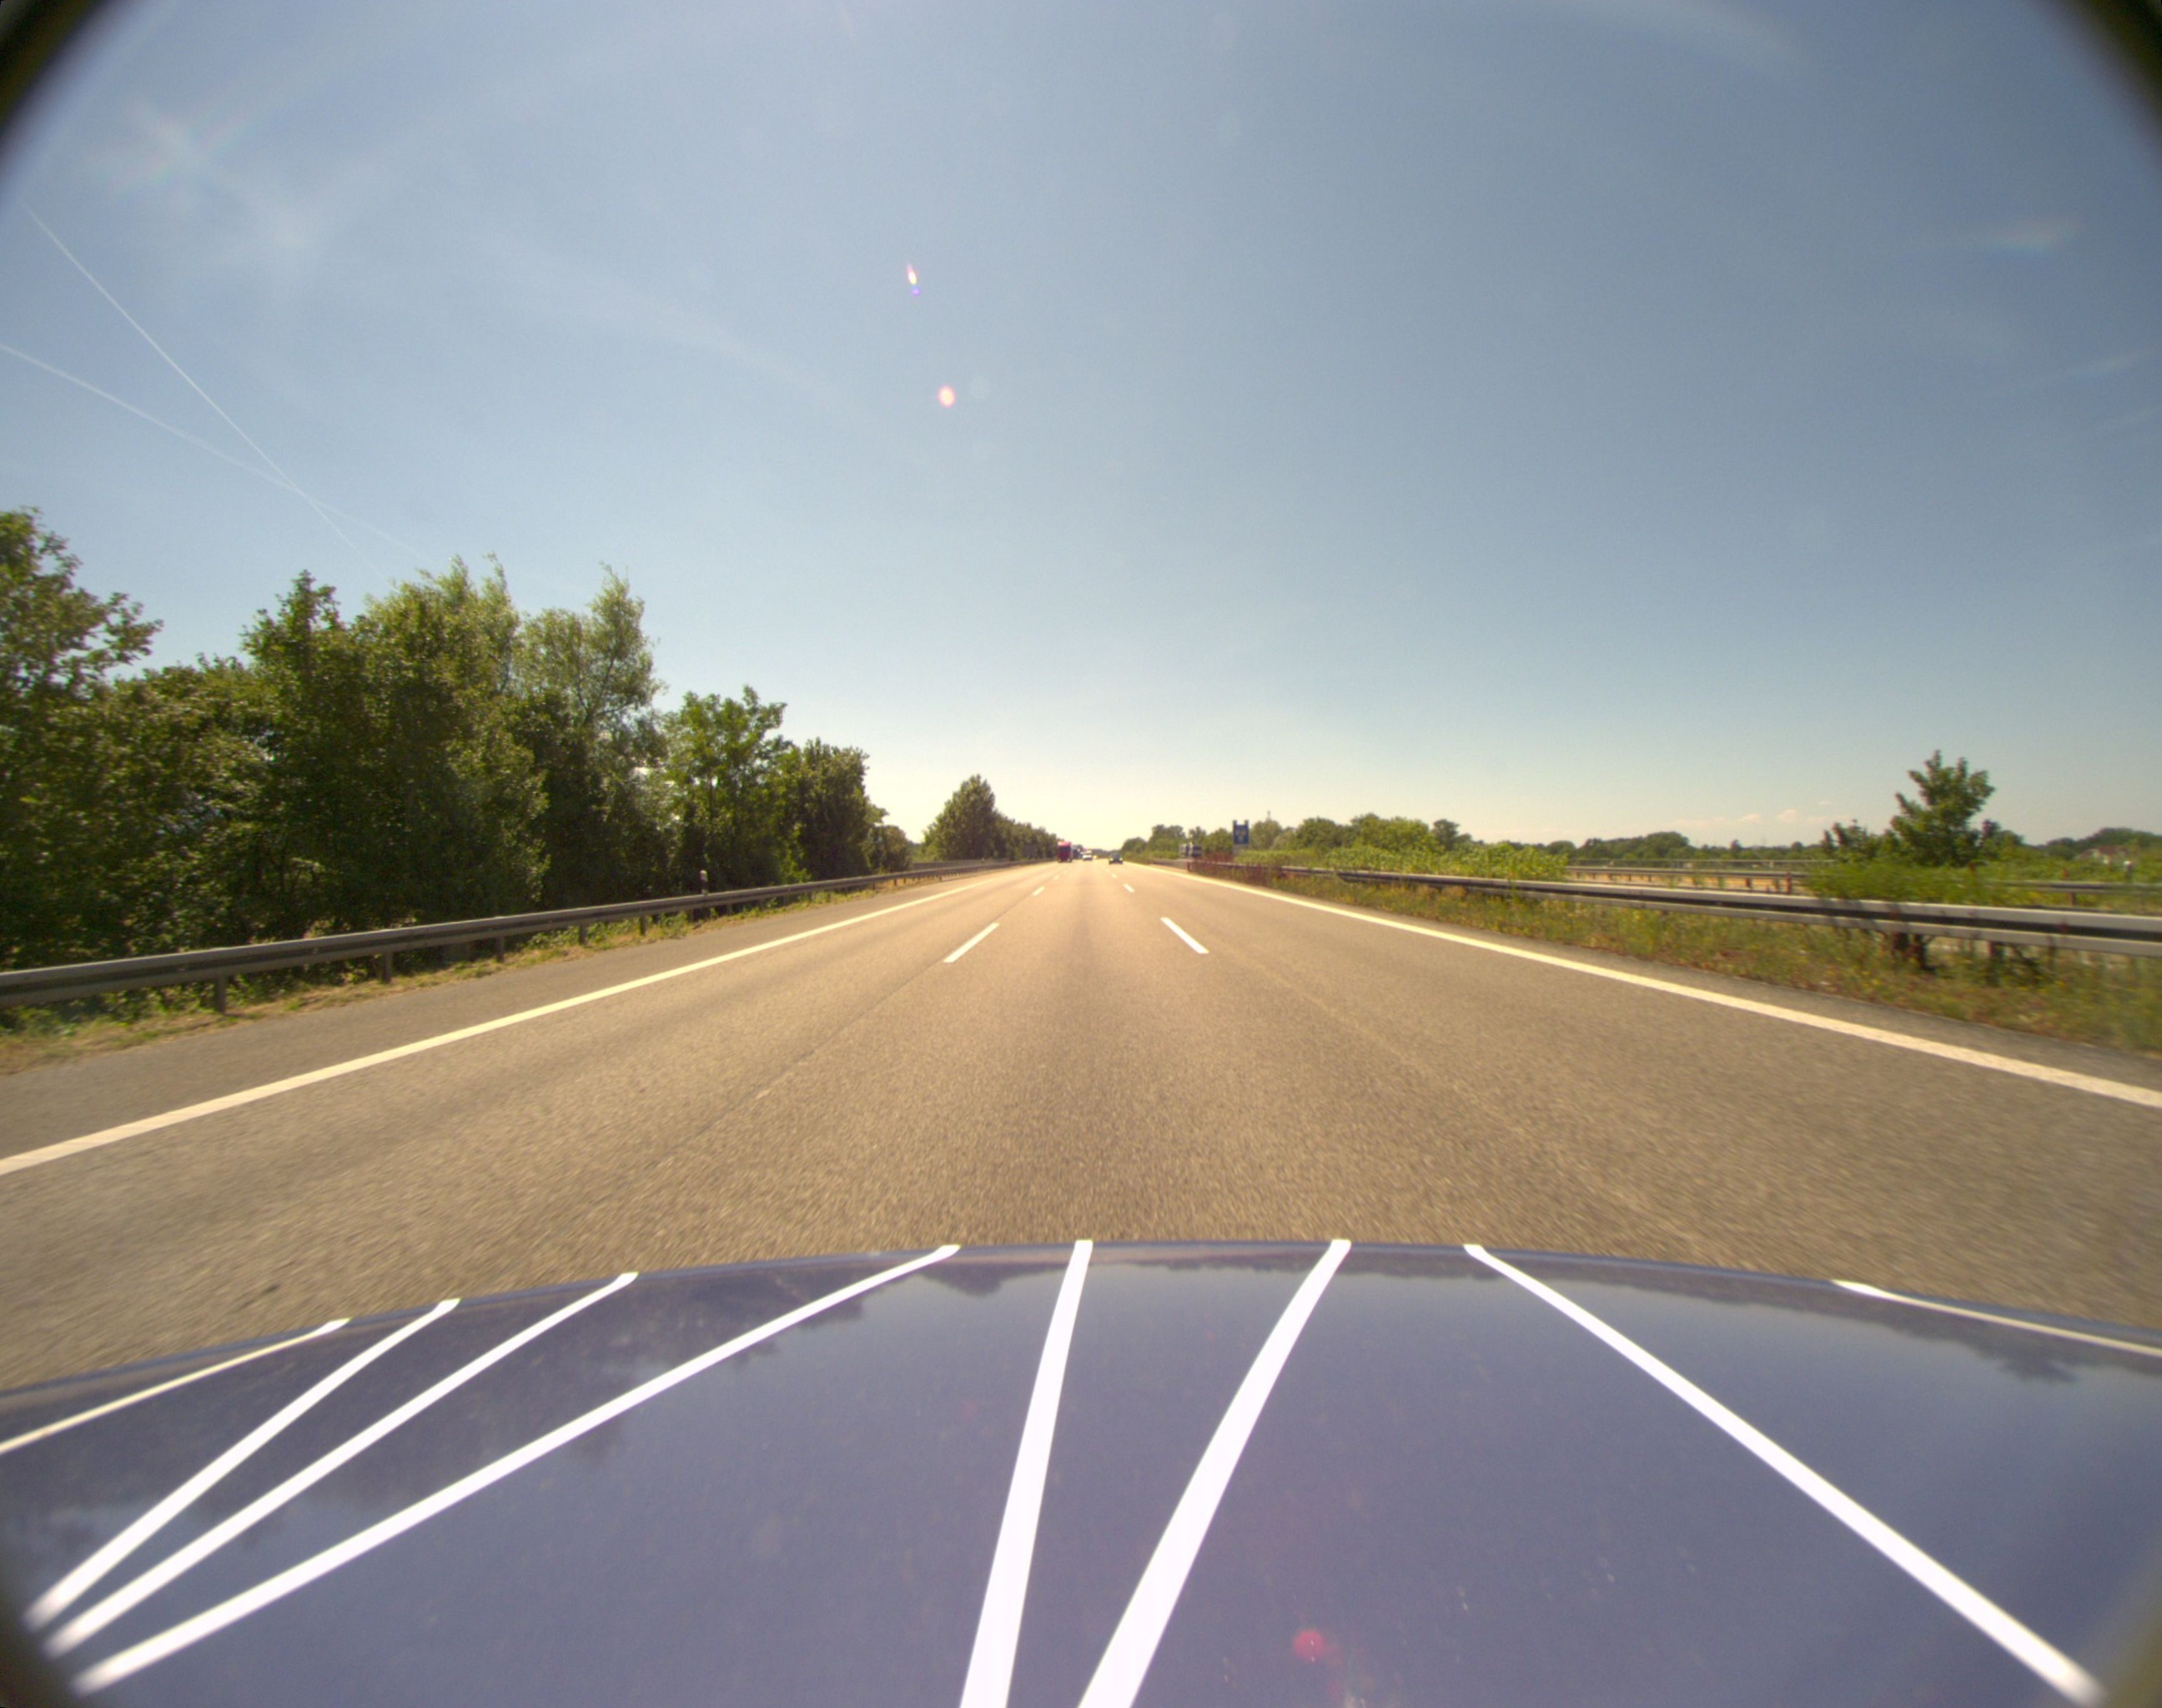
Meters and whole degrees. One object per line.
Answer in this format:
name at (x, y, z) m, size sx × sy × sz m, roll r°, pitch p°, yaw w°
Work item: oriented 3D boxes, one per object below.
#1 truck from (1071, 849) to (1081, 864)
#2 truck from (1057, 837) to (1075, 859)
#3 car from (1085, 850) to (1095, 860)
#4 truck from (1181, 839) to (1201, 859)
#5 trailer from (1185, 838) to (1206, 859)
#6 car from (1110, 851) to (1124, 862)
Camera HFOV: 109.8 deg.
truck at (-1.607, 0.738, 243.028) m, size 2.938 × 4.429 × 10.260 m, roll -2°, pitch 0°, yaw 1°
truck at (-2.857, -1.133, 147.953) m, size 2.938 × 3.933 × 10.260 m, roll -2°, pitch 0°, yaw 1°
car at (1.877, 0.162, 163.714) m, size 1.998 × 2.002 × 4.756 m, roll -2°, pitch 0°, yaw 1°
truck at (23.413, -1.086, 162.035) m, size 2.924 × 3.967 × 9.624 m, roll -2°, pitch 0°, yaw 2°
trailer at (23.208, -1.070, 154.011) m, size 2.932 × 3.967 × 9.660 m, roll -2°, pitch 0°, yaw 2°
car at (4.796, 0.321, 101.242) m, size 1.736 × 1.433 × 4.000 m, roll -2°, pitch 0°, yaw 1°
